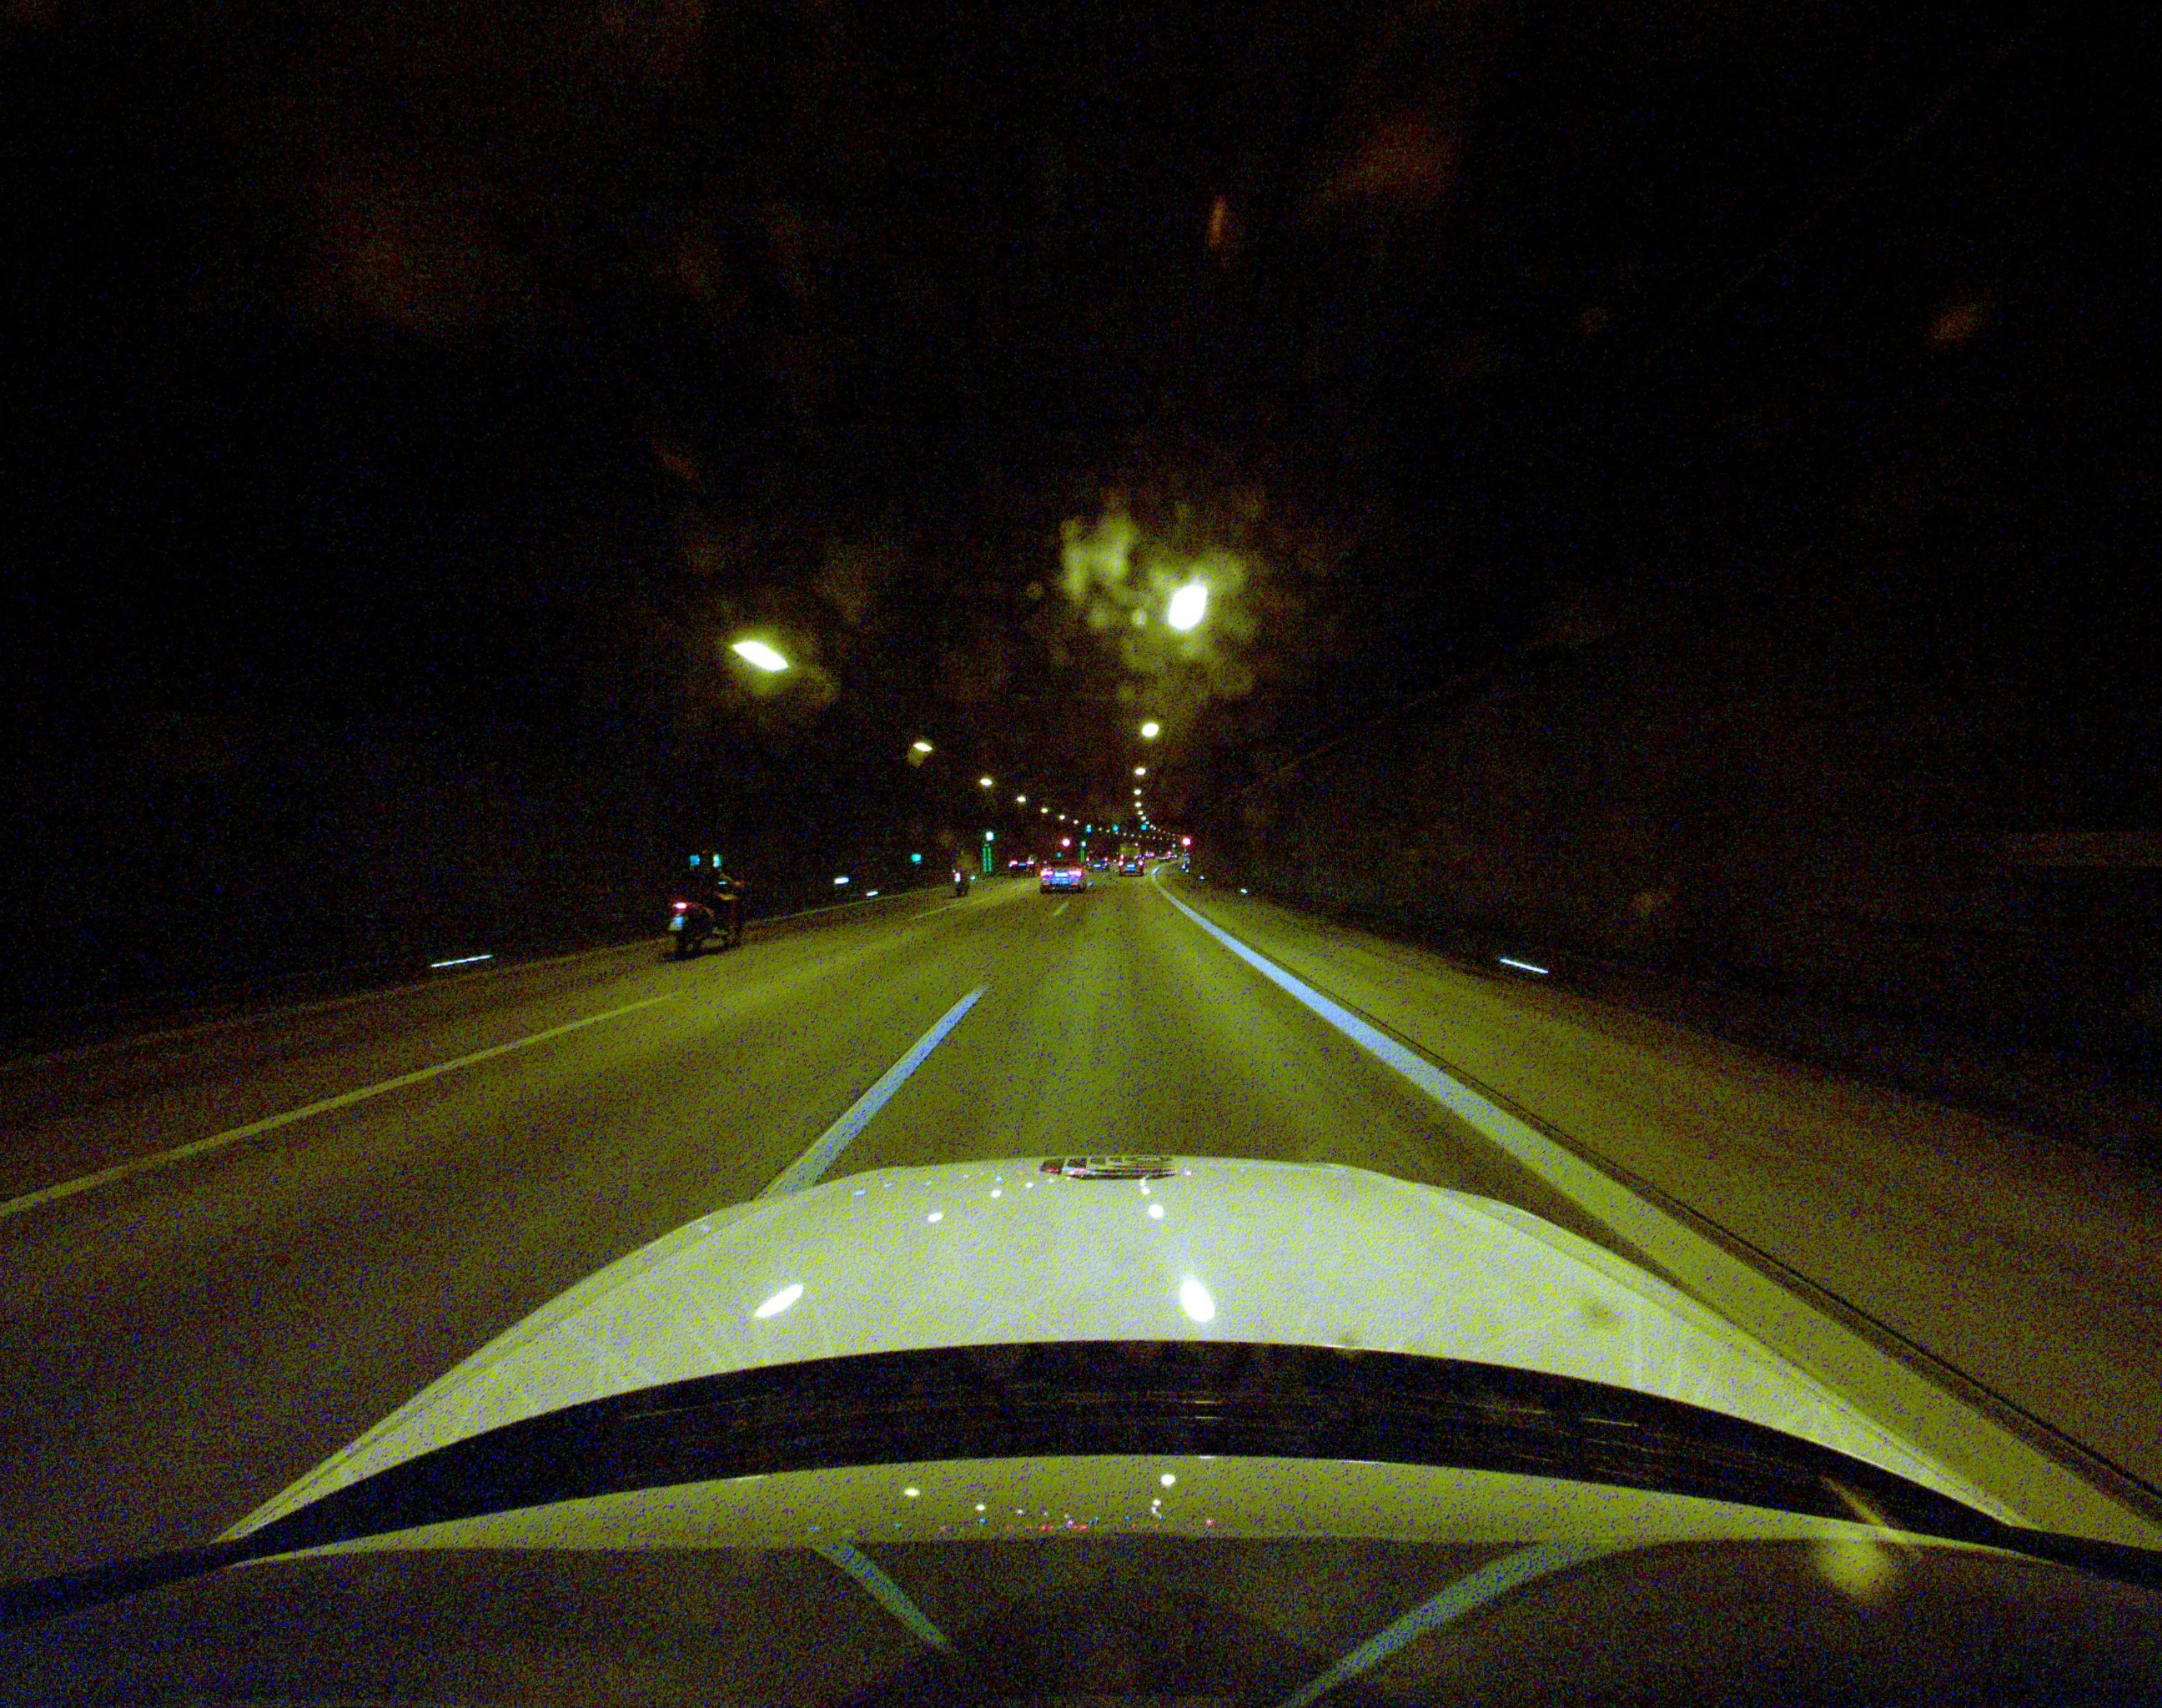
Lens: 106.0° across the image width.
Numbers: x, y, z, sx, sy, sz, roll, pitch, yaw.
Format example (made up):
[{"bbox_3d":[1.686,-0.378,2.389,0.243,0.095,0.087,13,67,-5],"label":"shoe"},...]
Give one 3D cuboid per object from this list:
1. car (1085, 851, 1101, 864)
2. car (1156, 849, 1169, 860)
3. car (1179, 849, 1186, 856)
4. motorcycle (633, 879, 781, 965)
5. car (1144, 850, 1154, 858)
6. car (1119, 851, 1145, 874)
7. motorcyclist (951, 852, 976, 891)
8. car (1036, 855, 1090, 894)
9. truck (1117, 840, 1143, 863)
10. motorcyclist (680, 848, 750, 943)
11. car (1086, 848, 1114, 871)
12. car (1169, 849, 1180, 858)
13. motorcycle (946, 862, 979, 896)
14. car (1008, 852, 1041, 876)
[{"bbox_3d":[1.596,0.487,109.169,1.791,1.684,4.006,-1,0,6],"label":"car"},{"bbox_3d":[13.217,0.102,132.536,1.836,1.568,4.004,-3,0,3],"label":"car"},{"bbox_3d":[26.575,-0.381,213.211,1.824,1.691,4.008,-3,0,7],"label":"car"},{"bbox_3d":[-5.974,1.044,13.237,1.048,1.157,2.432,-2,0,6],"label":"motorcycle"},{"bbox_3d":[15.039,0.078,180.477,1.820,1.618,4.009,-3,0,8],"label":"car"},{"bbox_3d":[3.793,0.614,60.820,1.832,1.602,4.003,-2,0,3],"label":"car"},{"bbox_3d":[-4.632,0.676,32.113,0.836,1.477,0.822,-1,0,1],"label":"motorcyclist"},{"bbox_3d":[-0.686,0.812,34.628,1.986,1.483,4.002,-2,0,2],"label":"car"},{"bbox_3d":[7.354,-0.401,121.337,3.067,3.112,10.047,-4,1,6],"label":"truck"},{"bbox_3d":[-5.994,0.660,13.387,0.623,1.489,0.892,-2,0,7],"label":"motorcyclist"},{"bbox_3d":[1.776,0.458,74.832,1.982,1.972,4.009,-2,0,8],"label":"car"},{"bbox_3d":[18.459,-0.086,160.521,1.848,1.666,4.009,-3,0,8],"label":"car"},{"bbox_3d":[-4.598,0.958,31.791,0.842,1.246,2.605,-1,0,1],"label":"motorcycle"},{"bbox_3d":[-3.979,0.670,58.230,1.777,1.598,3.806,-2,0,4],"label":"car"}]
